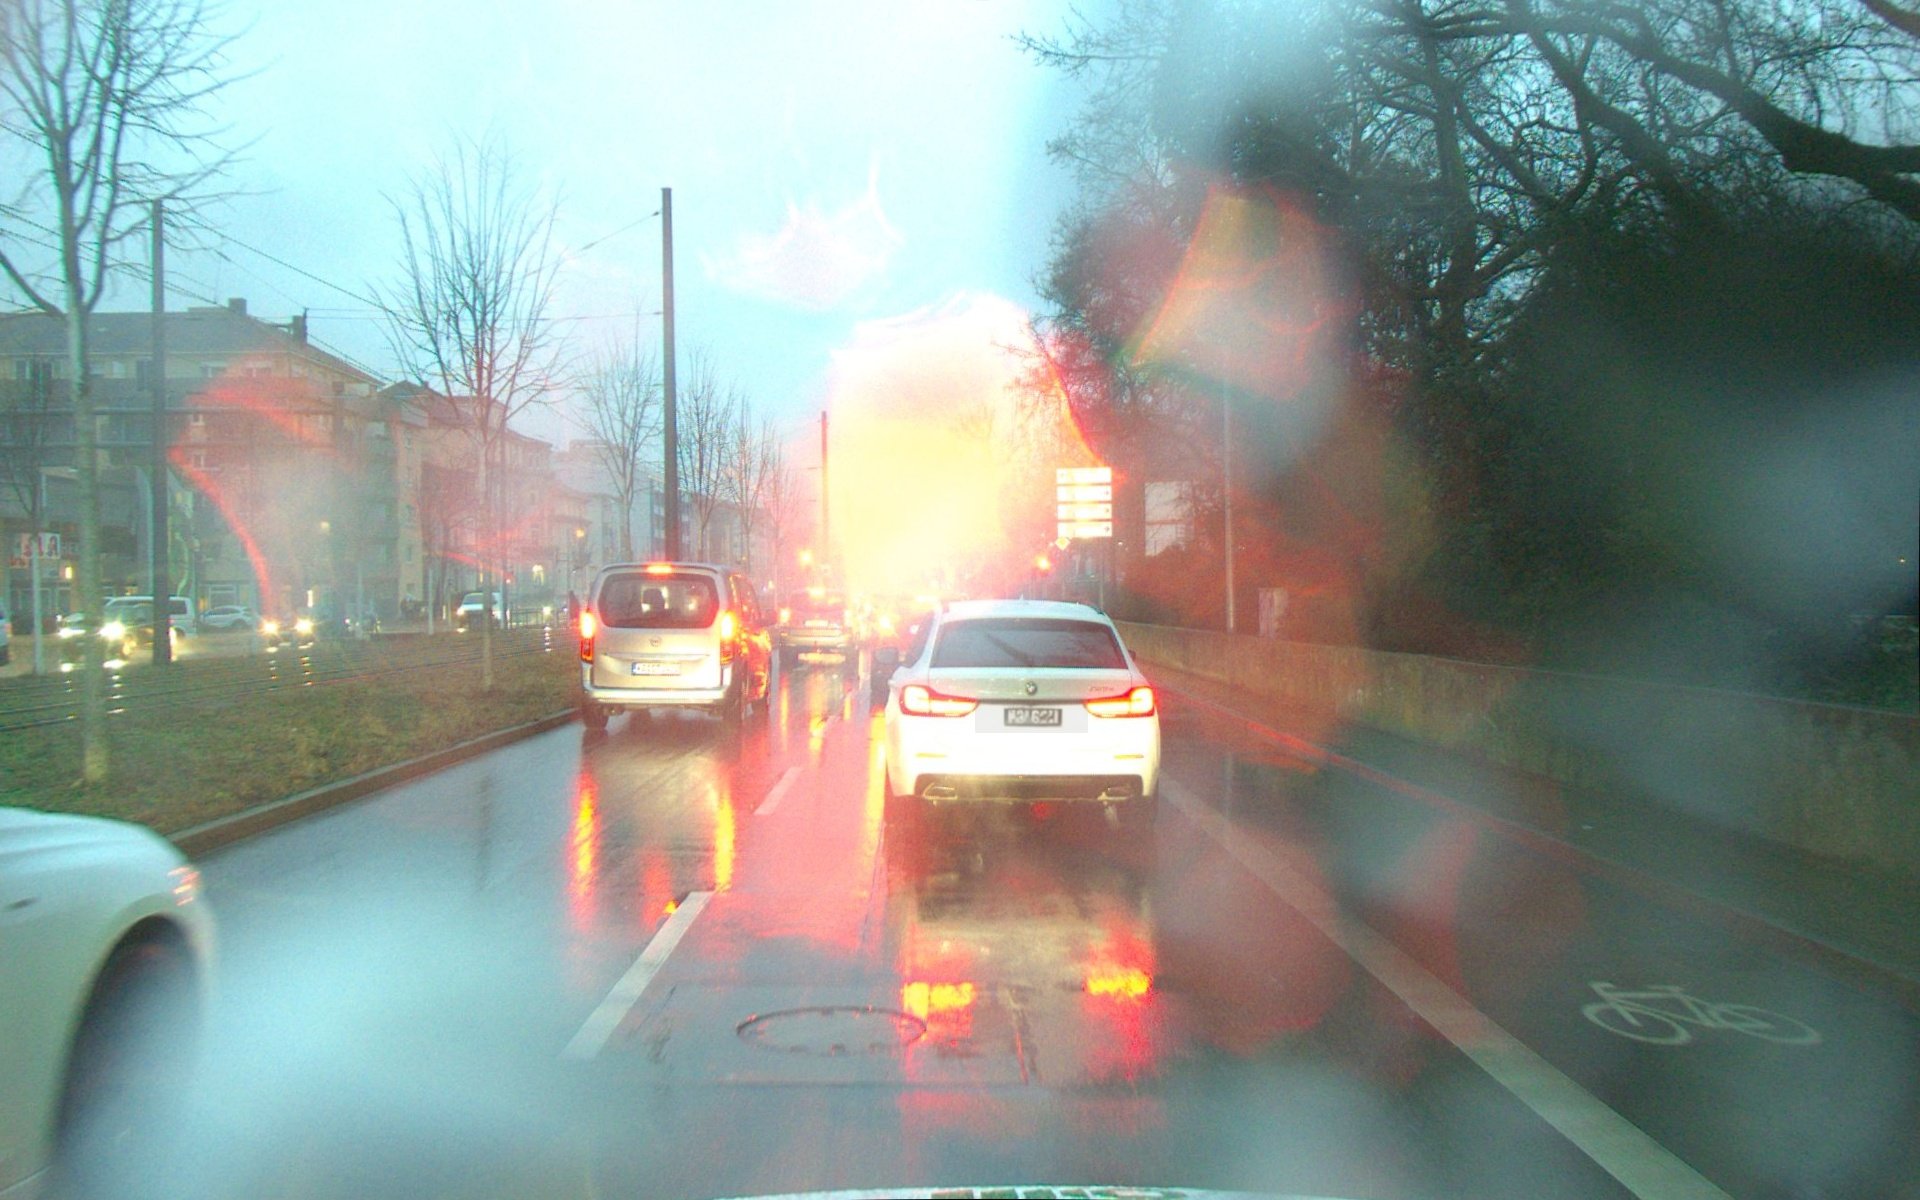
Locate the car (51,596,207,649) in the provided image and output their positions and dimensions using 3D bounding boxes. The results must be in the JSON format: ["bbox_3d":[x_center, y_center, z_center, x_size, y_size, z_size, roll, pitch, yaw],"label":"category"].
[{"bbox_3d":[-32.612,0.850,65.021,1.966,1.945,5.129,-1,0,43],"label":"car"}]

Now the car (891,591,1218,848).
[{"bbox_3d":[0.537,0.705,11.982,1.959,1.534,4.162,0,0,-1],"label":"car"}]

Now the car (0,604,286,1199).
[{"bbox_3d":[-2.765,0.723,2.288,1.808,1.430,4.613,1,0,-1],"label":"car"}]

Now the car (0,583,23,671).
[{"bbox_3d":[-20.050,0.562,31.469,1.859,1.749,5.113,-1,0,-5],"label":"car"}]

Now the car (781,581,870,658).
[{"bbox_3d":[-3.036,0.416,37.998,1.770,1.674,3.999,0,0,-1],"label":"car"}]

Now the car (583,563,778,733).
[{"bbox_3d":[-3.160,0.506,19.540,1.758,1.766,4.534,1,0,-3],"label":"car"}]

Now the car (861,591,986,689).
[{"bbox_3d":[-0.586,0.592,27.148,1.896,1.483,4.162,0,0,-1],"label":"car"}]

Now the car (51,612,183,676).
[{"bbox_3d":[-26.361,1.335,51.882,1.857,1.844,4.529,-1,0,-1],"label":"car"}]

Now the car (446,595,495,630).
[{"bbox_3d":[-28.665,0.682,96.985,1.956,1.945,5.155,-1,0,-7],"label":"car"}]

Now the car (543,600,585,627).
[{"bbox_3d":[-25.332,0.846,105.882,1.858,1.662,4.577,-1,0,-4],"label":"car"}]

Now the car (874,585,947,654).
[{"bbox_3d":[-1.226,0.469,42.329,1.770,1.674,3.999,0,0,-1],"label":"car"}]

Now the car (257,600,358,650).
[{"bbox_3d":[-24.498,0.895,62.267,1.857,1.749,4.916,-1,0,0],"label":"car"}]
